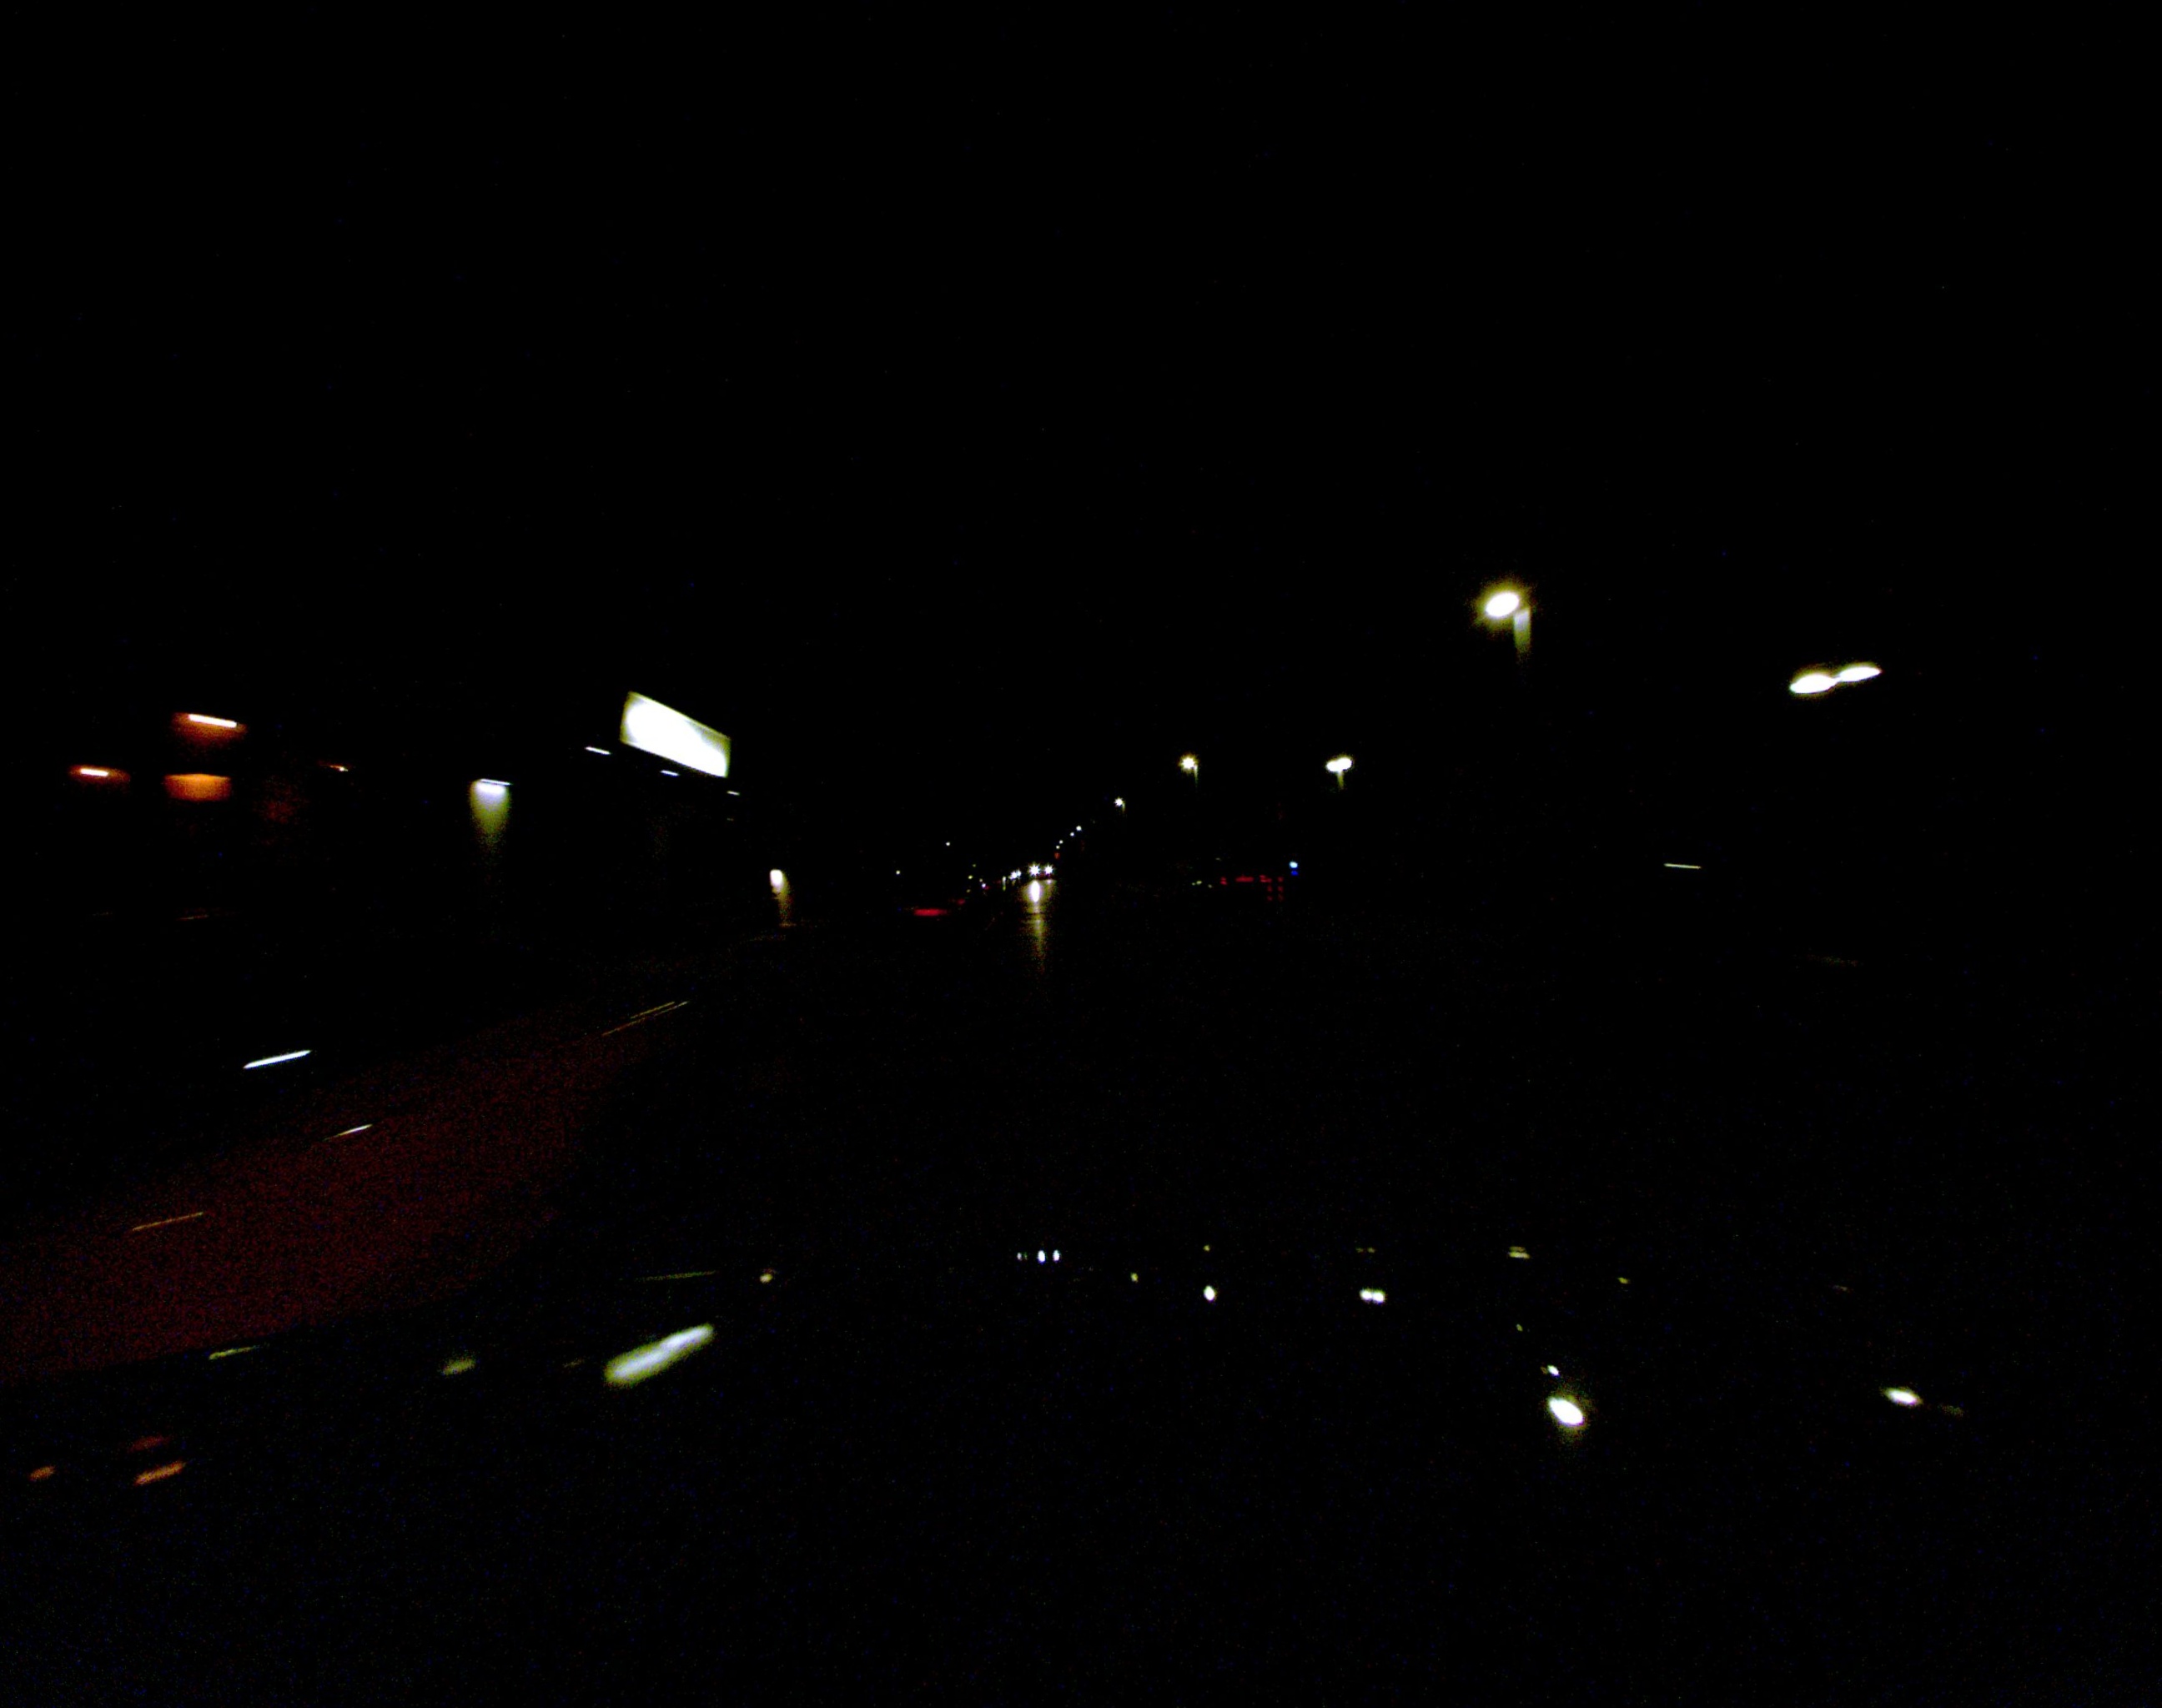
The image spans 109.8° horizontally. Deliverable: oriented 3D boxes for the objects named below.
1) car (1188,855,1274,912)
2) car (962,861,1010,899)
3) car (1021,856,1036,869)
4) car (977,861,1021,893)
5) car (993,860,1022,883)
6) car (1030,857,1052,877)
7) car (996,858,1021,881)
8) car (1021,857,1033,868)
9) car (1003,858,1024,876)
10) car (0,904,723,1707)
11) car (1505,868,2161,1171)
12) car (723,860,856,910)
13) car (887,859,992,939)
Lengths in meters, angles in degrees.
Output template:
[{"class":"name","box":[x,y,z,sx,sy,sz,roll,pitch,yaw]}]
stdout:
[{"class":"car","box":[4.562,0.848,23.596,1.696,1.515,3.689,-2,1,-4]},{"class":"car","box":[-4.105,1.094,33.300,1.785,1.429,4.288,-2,0,-4]},{"class":"car","box":[-6.178,0.996,89.494,1.657,1.465,3.516,-2,0,-5]},{"class":"car","box":[-4.065,1.109,38.307,1.681,1.439,4.611,-2,0,0]},{"class":"car","box":[-4.823,1.117,49.989,1.767,1.407,4.438,-2,0,-5]},{"class":"car","box":[-3.150,0.995,59.518,1.628,1.496,3.548,-2,0,-5]},{"class":"car","box":[-5.197,1.097,54.885,1.643,1.458,3.775,-3,0,-3]},{"class":"car","box":[-7.976,1.266,111.878,1.702,1.447,3.712,-2,0,-5]},{"class":"car","box":[-5.765,1.115,65.097,1.681,1.439,3.998,-1,0,-5]},{"class":"car","box":[-2.882,1.011,1.928,1.862,1.433,4.593,1,0,-1]},{"class":"car","box":[5.371,0.898,6.009,1.696,1.428,4.128,-3,0,0]},{"class":"car","box":[-10.267,1.048,26.850,4.076,1.576,1.703,-1,1,-33]},{"class":"car","box":[-3.214,0.954,18.089,1.792,1.632,4.379,1,0,-2]}]
